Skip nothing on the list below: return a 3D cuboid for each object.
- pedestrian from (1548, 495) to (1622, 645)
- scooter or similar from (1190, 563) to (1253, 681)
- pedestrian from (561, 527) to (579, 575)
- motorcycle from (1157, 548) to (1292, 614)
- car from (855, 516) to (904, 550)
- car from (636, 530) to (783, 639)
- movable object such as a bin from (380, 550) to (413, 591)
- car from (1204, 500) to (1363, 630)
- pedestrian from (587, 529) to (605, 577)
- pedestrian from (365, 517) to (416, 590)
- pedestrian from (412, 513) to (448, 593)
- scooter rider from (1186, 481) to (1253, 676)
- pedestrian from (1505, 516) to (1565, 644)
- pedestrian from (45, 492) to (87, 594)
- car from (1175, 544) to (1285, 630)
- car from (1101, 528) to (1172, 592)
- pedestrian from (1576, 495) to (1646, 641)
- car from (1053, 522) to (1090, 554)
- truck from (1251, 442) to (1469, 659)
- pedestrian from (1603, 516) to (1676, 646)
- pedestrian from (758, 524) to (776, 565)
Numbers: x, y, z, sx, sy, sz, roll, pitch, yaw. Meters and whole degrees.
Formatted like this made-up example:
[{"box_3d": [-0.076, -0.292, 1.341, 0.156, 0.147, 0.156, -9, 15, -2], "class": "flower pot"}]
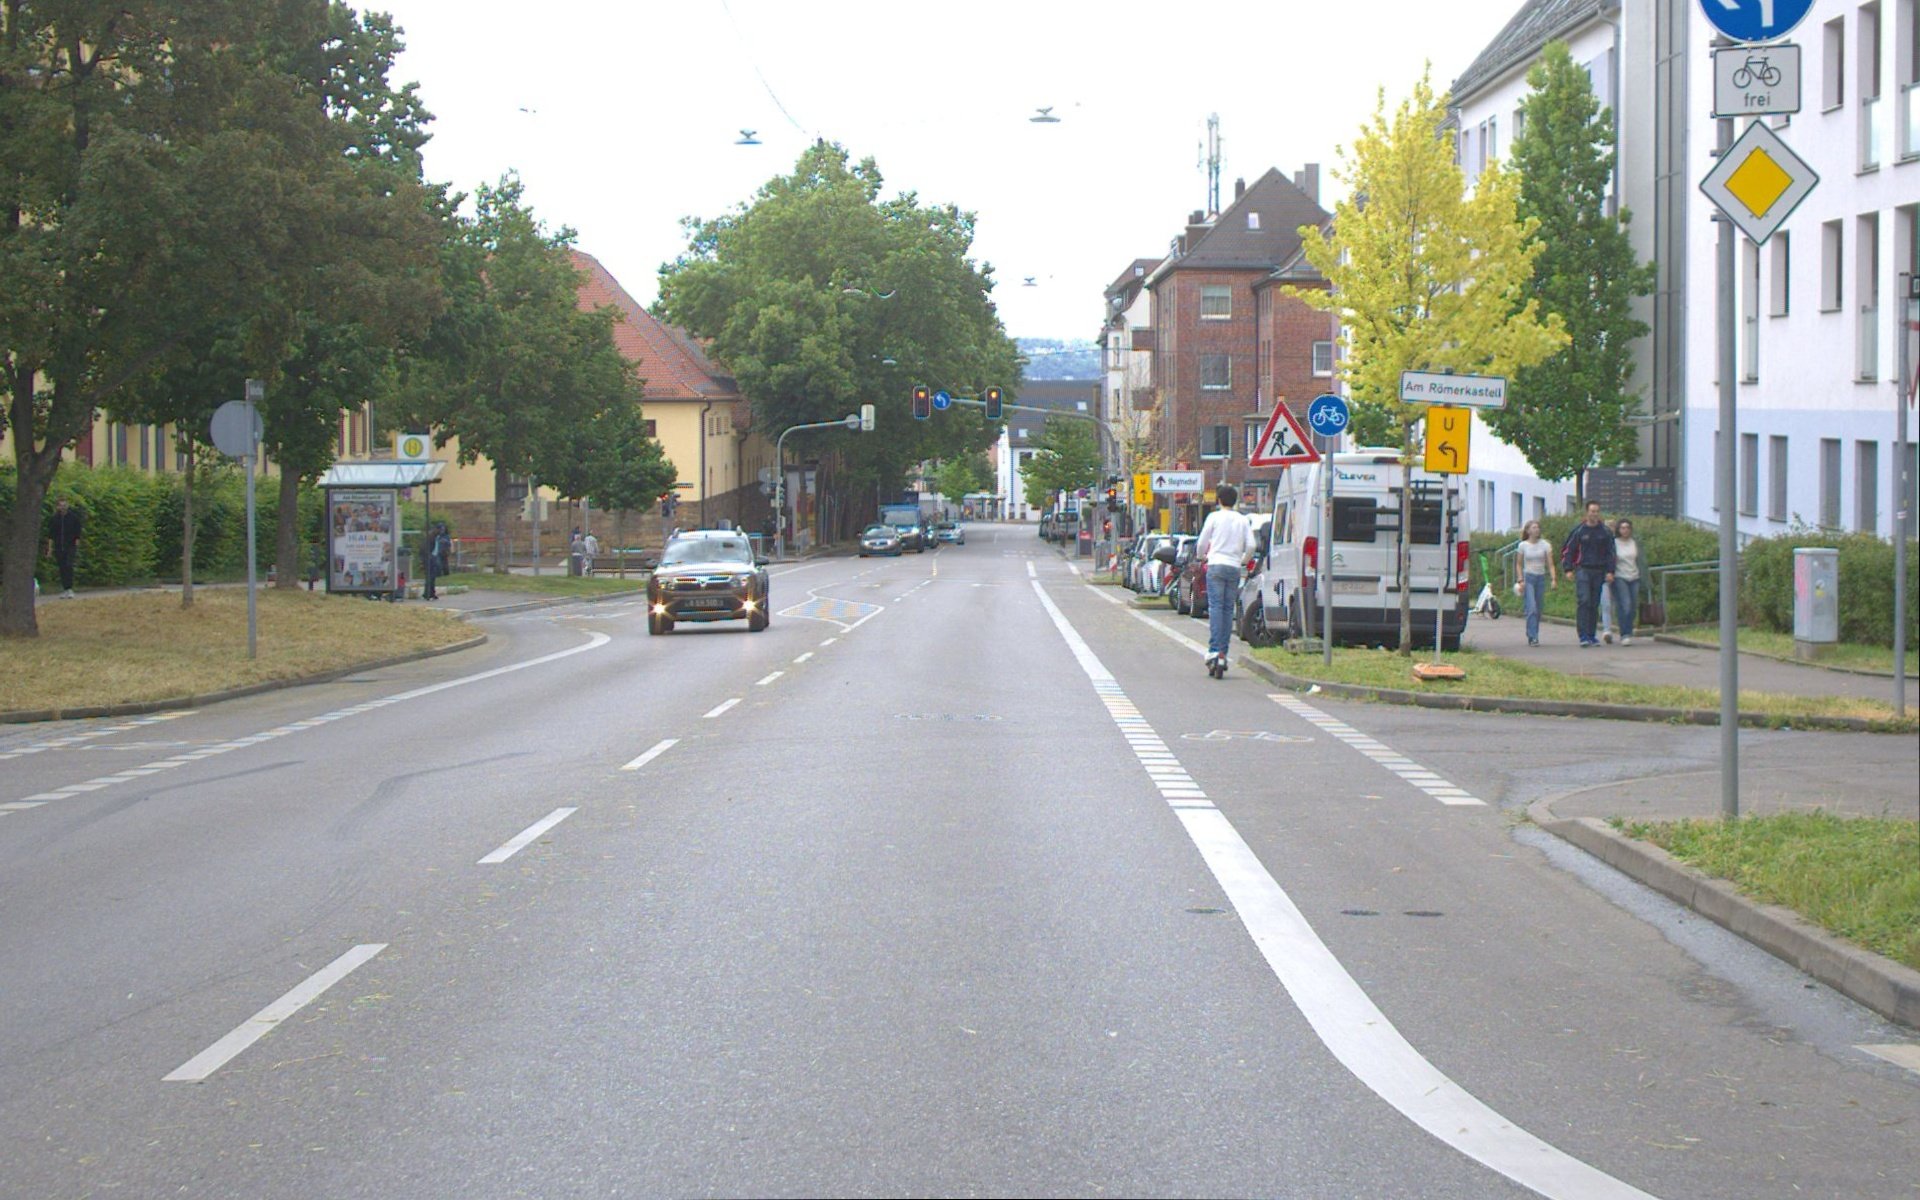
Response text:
[{"box_3d": [7.883, -0.375, 43.379, 0.670, 1.880, 0.766, 0, 0, -11], "class": "pedestrian"}, {"box_3d": [2.727, 0.212, 35.930, 0.490, 1.159, 2.075, 0, 1, 0], "class": "scooter or similar"}, {"box_3d": [-14.474, -1.812, 127.630, 0.564, 1.771, 0.842, 0, 1, 0], "class": "pedestrian"}, {"box_3d": [5.251, -0.378, 68.405, 2.597, 1.274, 0.753, 0, 1, -3], "class": "motorcycle"}, {"box_3d": [-3.558, -2.998, 152.510, 1.756, 1.467, 4.306, -1, 1, 4], "class": "car"}, {"box_3d": [-3.922, -0.281, 54.410, 1.899, 1.614, 4.362, 1, 1, 1], "class": "car"}, {"box_3d": [-11.887, -0.631, 72.521, 0.536, 0.843, 0.665, 2, 1, 2], "class": "movable object such as a bin"}, {"box_3d": [5.031, -0.582, 54.115, 1.993, 1.937, 5.212, 0, 1, 0], "class": "car"}, {"box_3d": [-13.471, -1.734, 127.256, 0.564, 1.771, 0.717, 0, 1, 0], "class": "pedestrian"}, {"box_3d": [-12.031, -0.981, 72.636, 0.899, 1.504, 0.806, 2, 1, 1], "class": "pedestrian"}, {"box_3d": [-11.539, -1.025, 74.872, 0.597, 1.721, 0.861, 1, 1, 3], "class": "pedestrian"}, {"box_3d": [2.706, -0.232, 35.945, 0.625, 2.007, 0.758, 0, 1, 0], "class": "scooter rider"}, {"box_3d": [7.410, -0.256, 44.326, 0.576, 1.638, 0.562, 0, 0, -13], "class": "pedestrian"}, {"box_3d": [-15.624, -1.000, 60.090, 0.513, 1.773, 0.753, 0, 1, 0], "class": "pedestrian"}, {"box_3d": [5.103, -0.278, 65.435, 1.680, 1.539, 4.339, 1, 1, -1], "class": "car"}, {"box_3d": [4.976, -1.147, 97.409, 1.659, 1.710, 4.552, 2, 1, -1], "class": "car"}, {"box_3d": [8.470, -0.419, 44.734, 0.670, 1.880, 0.620, 0, 0, -16], "class": "pedestrian"}, {"box_3d": [6.829, -3.796, 210.950, 1.993, 1.929, 4.919, 0, 1, -2], "class": "car"}, {"box_3d": [4.993, -0.652, 43.661, 2.052, 2.556, 5.690, 0, 1, 0], "class": "truck"}, {"box_3d": [8.619, -0.242, 43.621, 0.656, 1.599, 0.575, -4, 2, -8], "class": "pedestrian"}, {"box_3d": [-8.391, -2.399, 149.424, 0.674, 1.759, 0.725, 0, 1, 5], "class": "pedestrian"}]
